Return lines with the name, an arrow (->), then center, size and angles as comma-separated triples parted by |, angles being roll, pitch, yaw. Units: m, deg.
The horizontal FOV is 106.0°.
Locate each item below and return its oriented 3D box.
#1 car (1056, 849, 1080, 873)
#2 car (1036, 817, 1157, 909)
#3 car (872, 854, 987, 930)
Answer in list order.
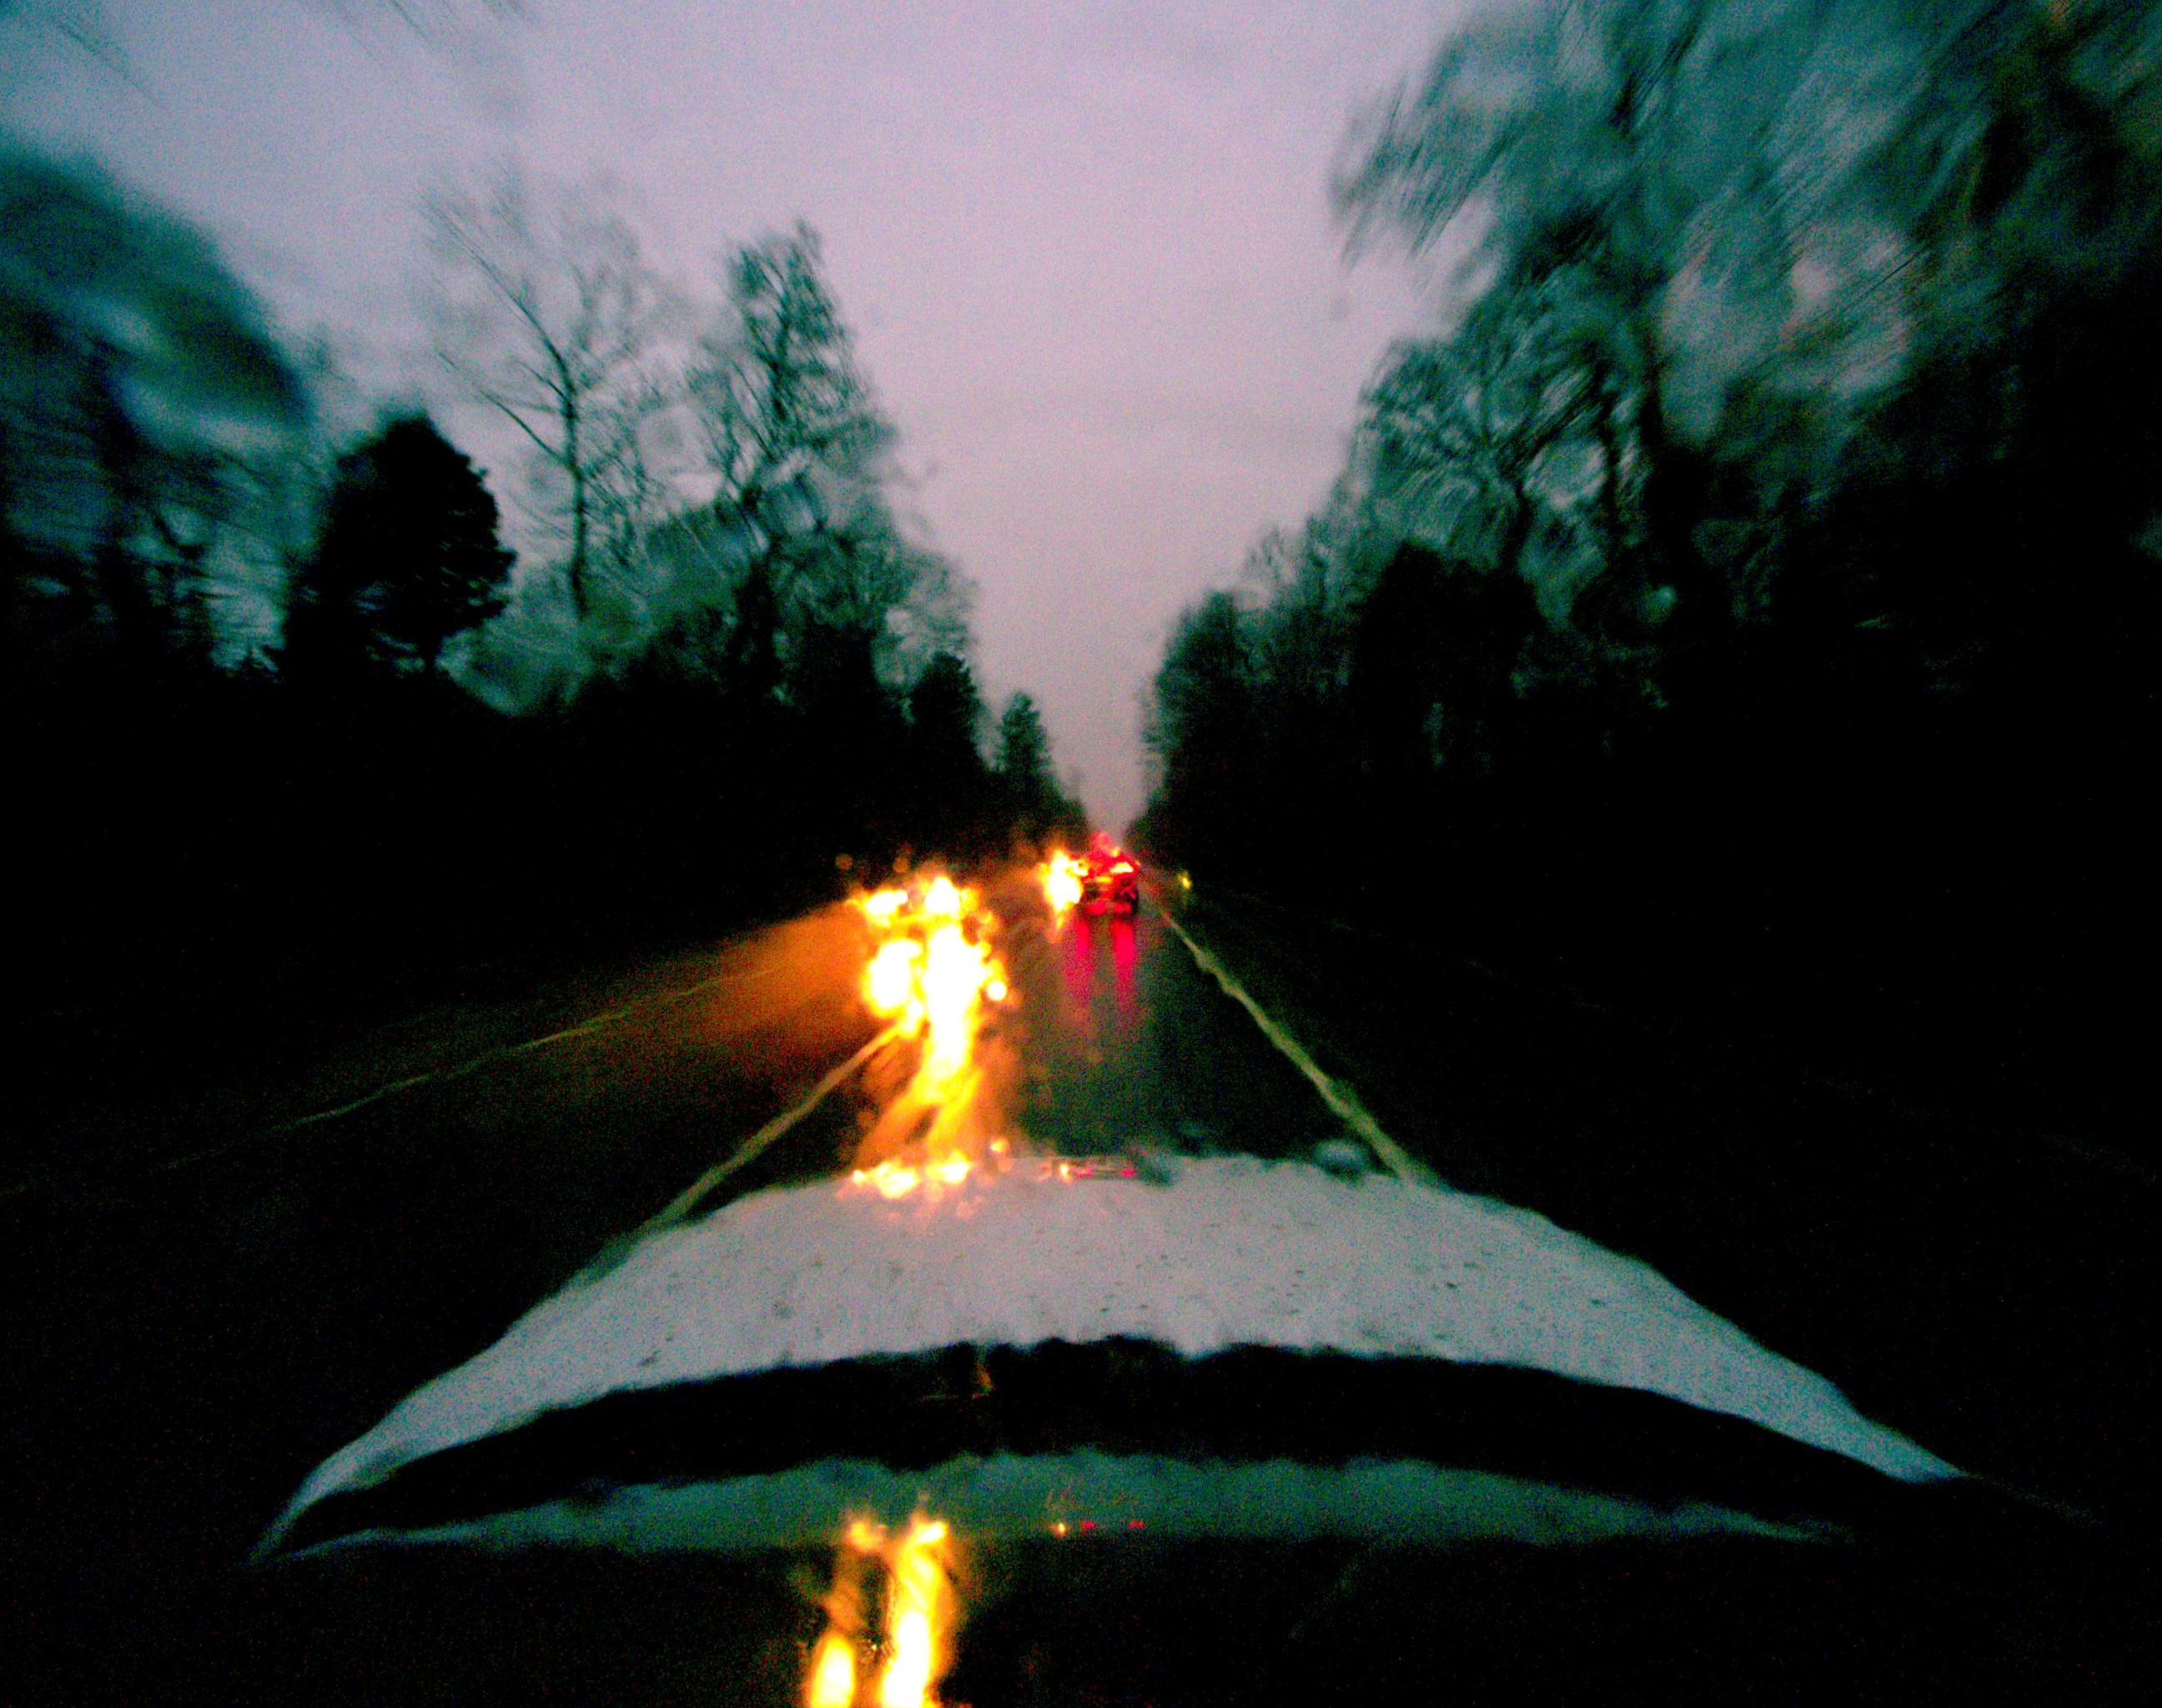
car -> -1.079, 0.575, 69.540 | 1.790, 1.881, 4.427 | -3, 0, 2
car -> 0.539, 0.236, 24.788 | 3.171, 2.386, 6.640 | -1, 0, 2
car -> -3.378, 0.795, 18.834 | 1.747, 1.457, 3.639 | -3, 0, 2
